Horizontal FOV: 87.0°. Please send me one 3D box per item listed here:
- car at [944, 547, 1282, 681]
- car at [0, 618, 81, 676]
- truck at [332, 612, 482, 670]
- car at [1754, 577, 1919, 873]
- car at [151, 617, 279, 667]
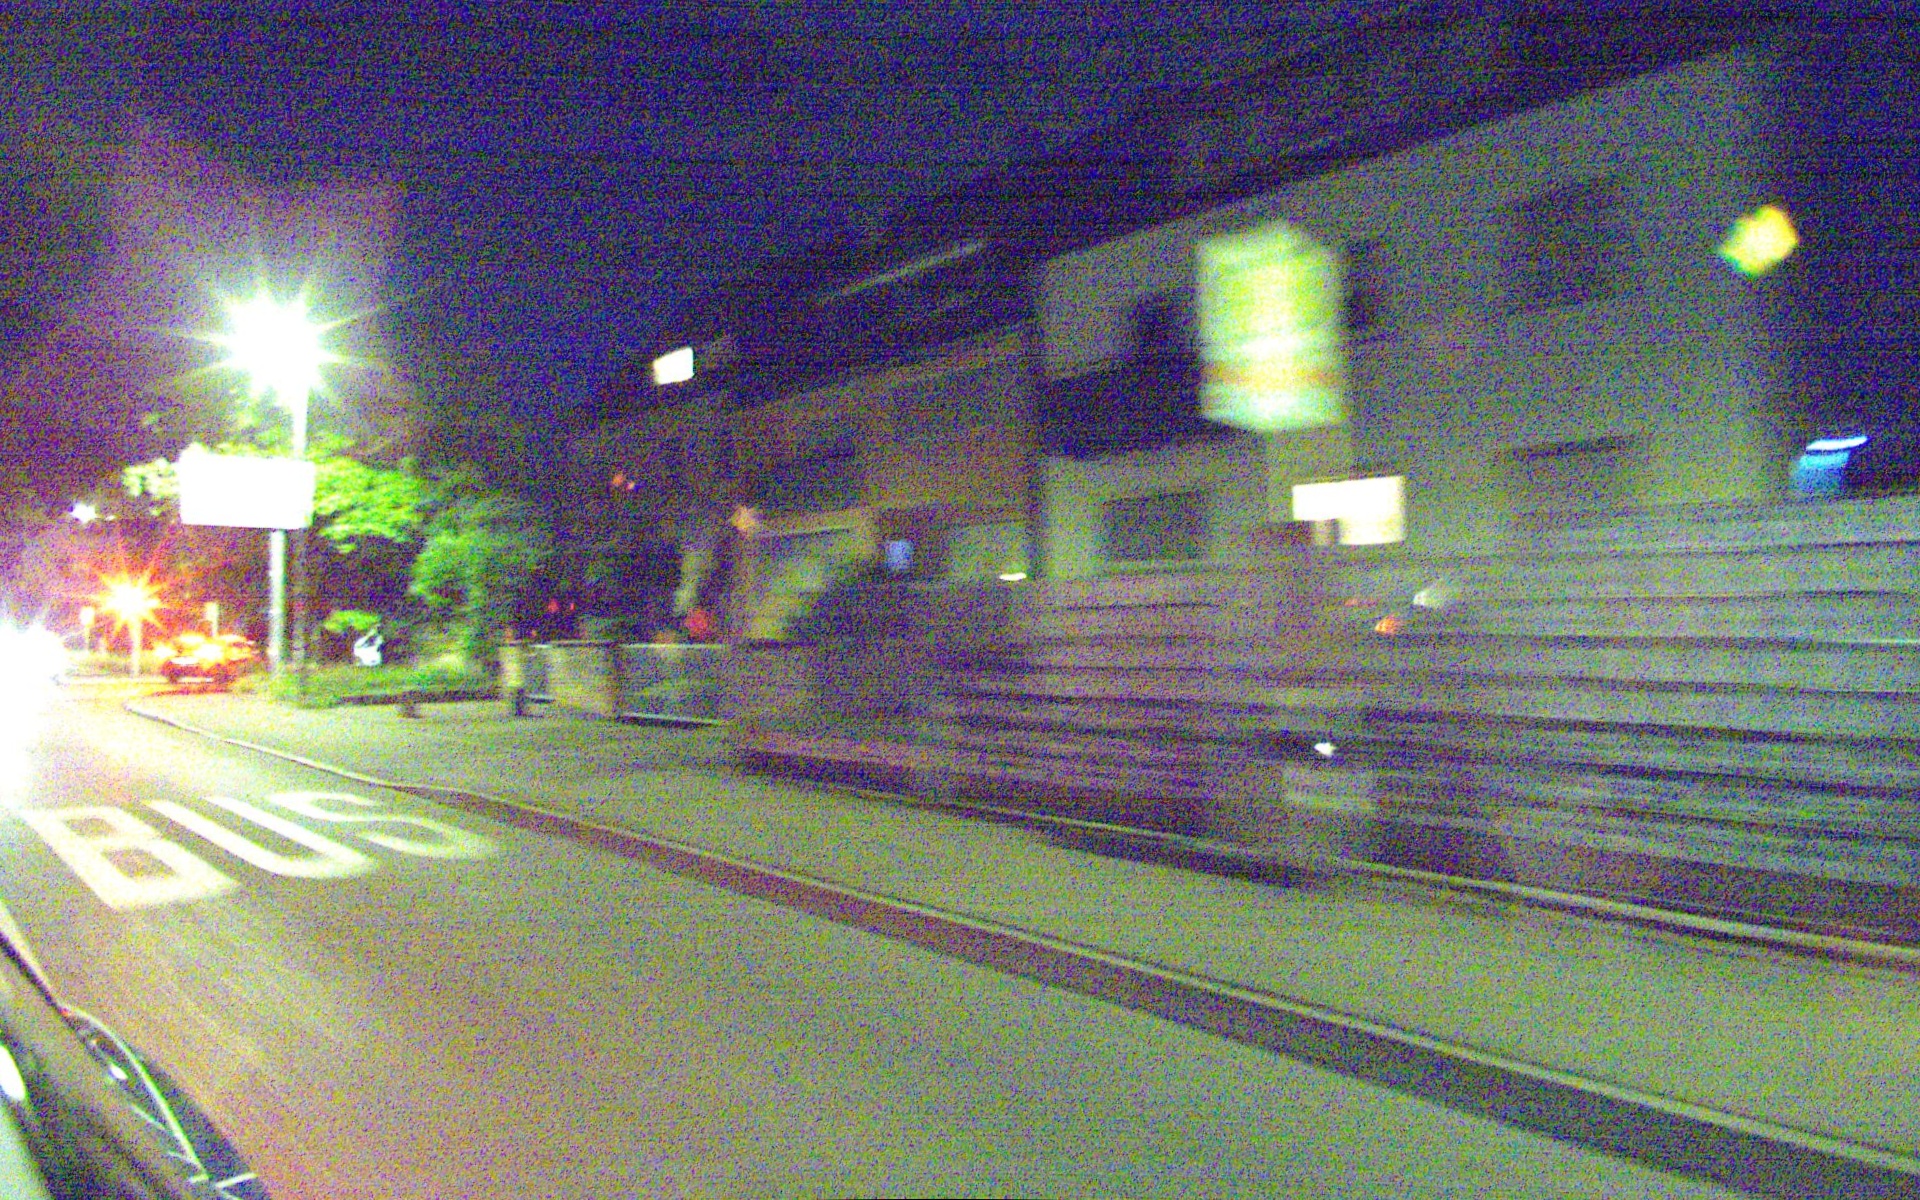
[{"bbox_3d":[1.859,0.210,13.187,4.122,1.470,1.707,-2,-2,44],"label":"car"},{"bbox_3d":[-26.207,1.290,28.224,1.488,1.513,3.059,0,-1,-18],"label":"car"},{"bbox_3d":[-31.307,2.286,57.521,6.931,3.067,2.775,1,-1,-3],"label":"truck"},{"bbox_3d":[6.445,0.573,4.886,3.992,1.450,1.957,-1,0,36],"label":"car"},{"bbox_3d":[-23.939,1.307,32.715,1.703,1.440,4.300,-1,0,-12],"label":"car"}]
